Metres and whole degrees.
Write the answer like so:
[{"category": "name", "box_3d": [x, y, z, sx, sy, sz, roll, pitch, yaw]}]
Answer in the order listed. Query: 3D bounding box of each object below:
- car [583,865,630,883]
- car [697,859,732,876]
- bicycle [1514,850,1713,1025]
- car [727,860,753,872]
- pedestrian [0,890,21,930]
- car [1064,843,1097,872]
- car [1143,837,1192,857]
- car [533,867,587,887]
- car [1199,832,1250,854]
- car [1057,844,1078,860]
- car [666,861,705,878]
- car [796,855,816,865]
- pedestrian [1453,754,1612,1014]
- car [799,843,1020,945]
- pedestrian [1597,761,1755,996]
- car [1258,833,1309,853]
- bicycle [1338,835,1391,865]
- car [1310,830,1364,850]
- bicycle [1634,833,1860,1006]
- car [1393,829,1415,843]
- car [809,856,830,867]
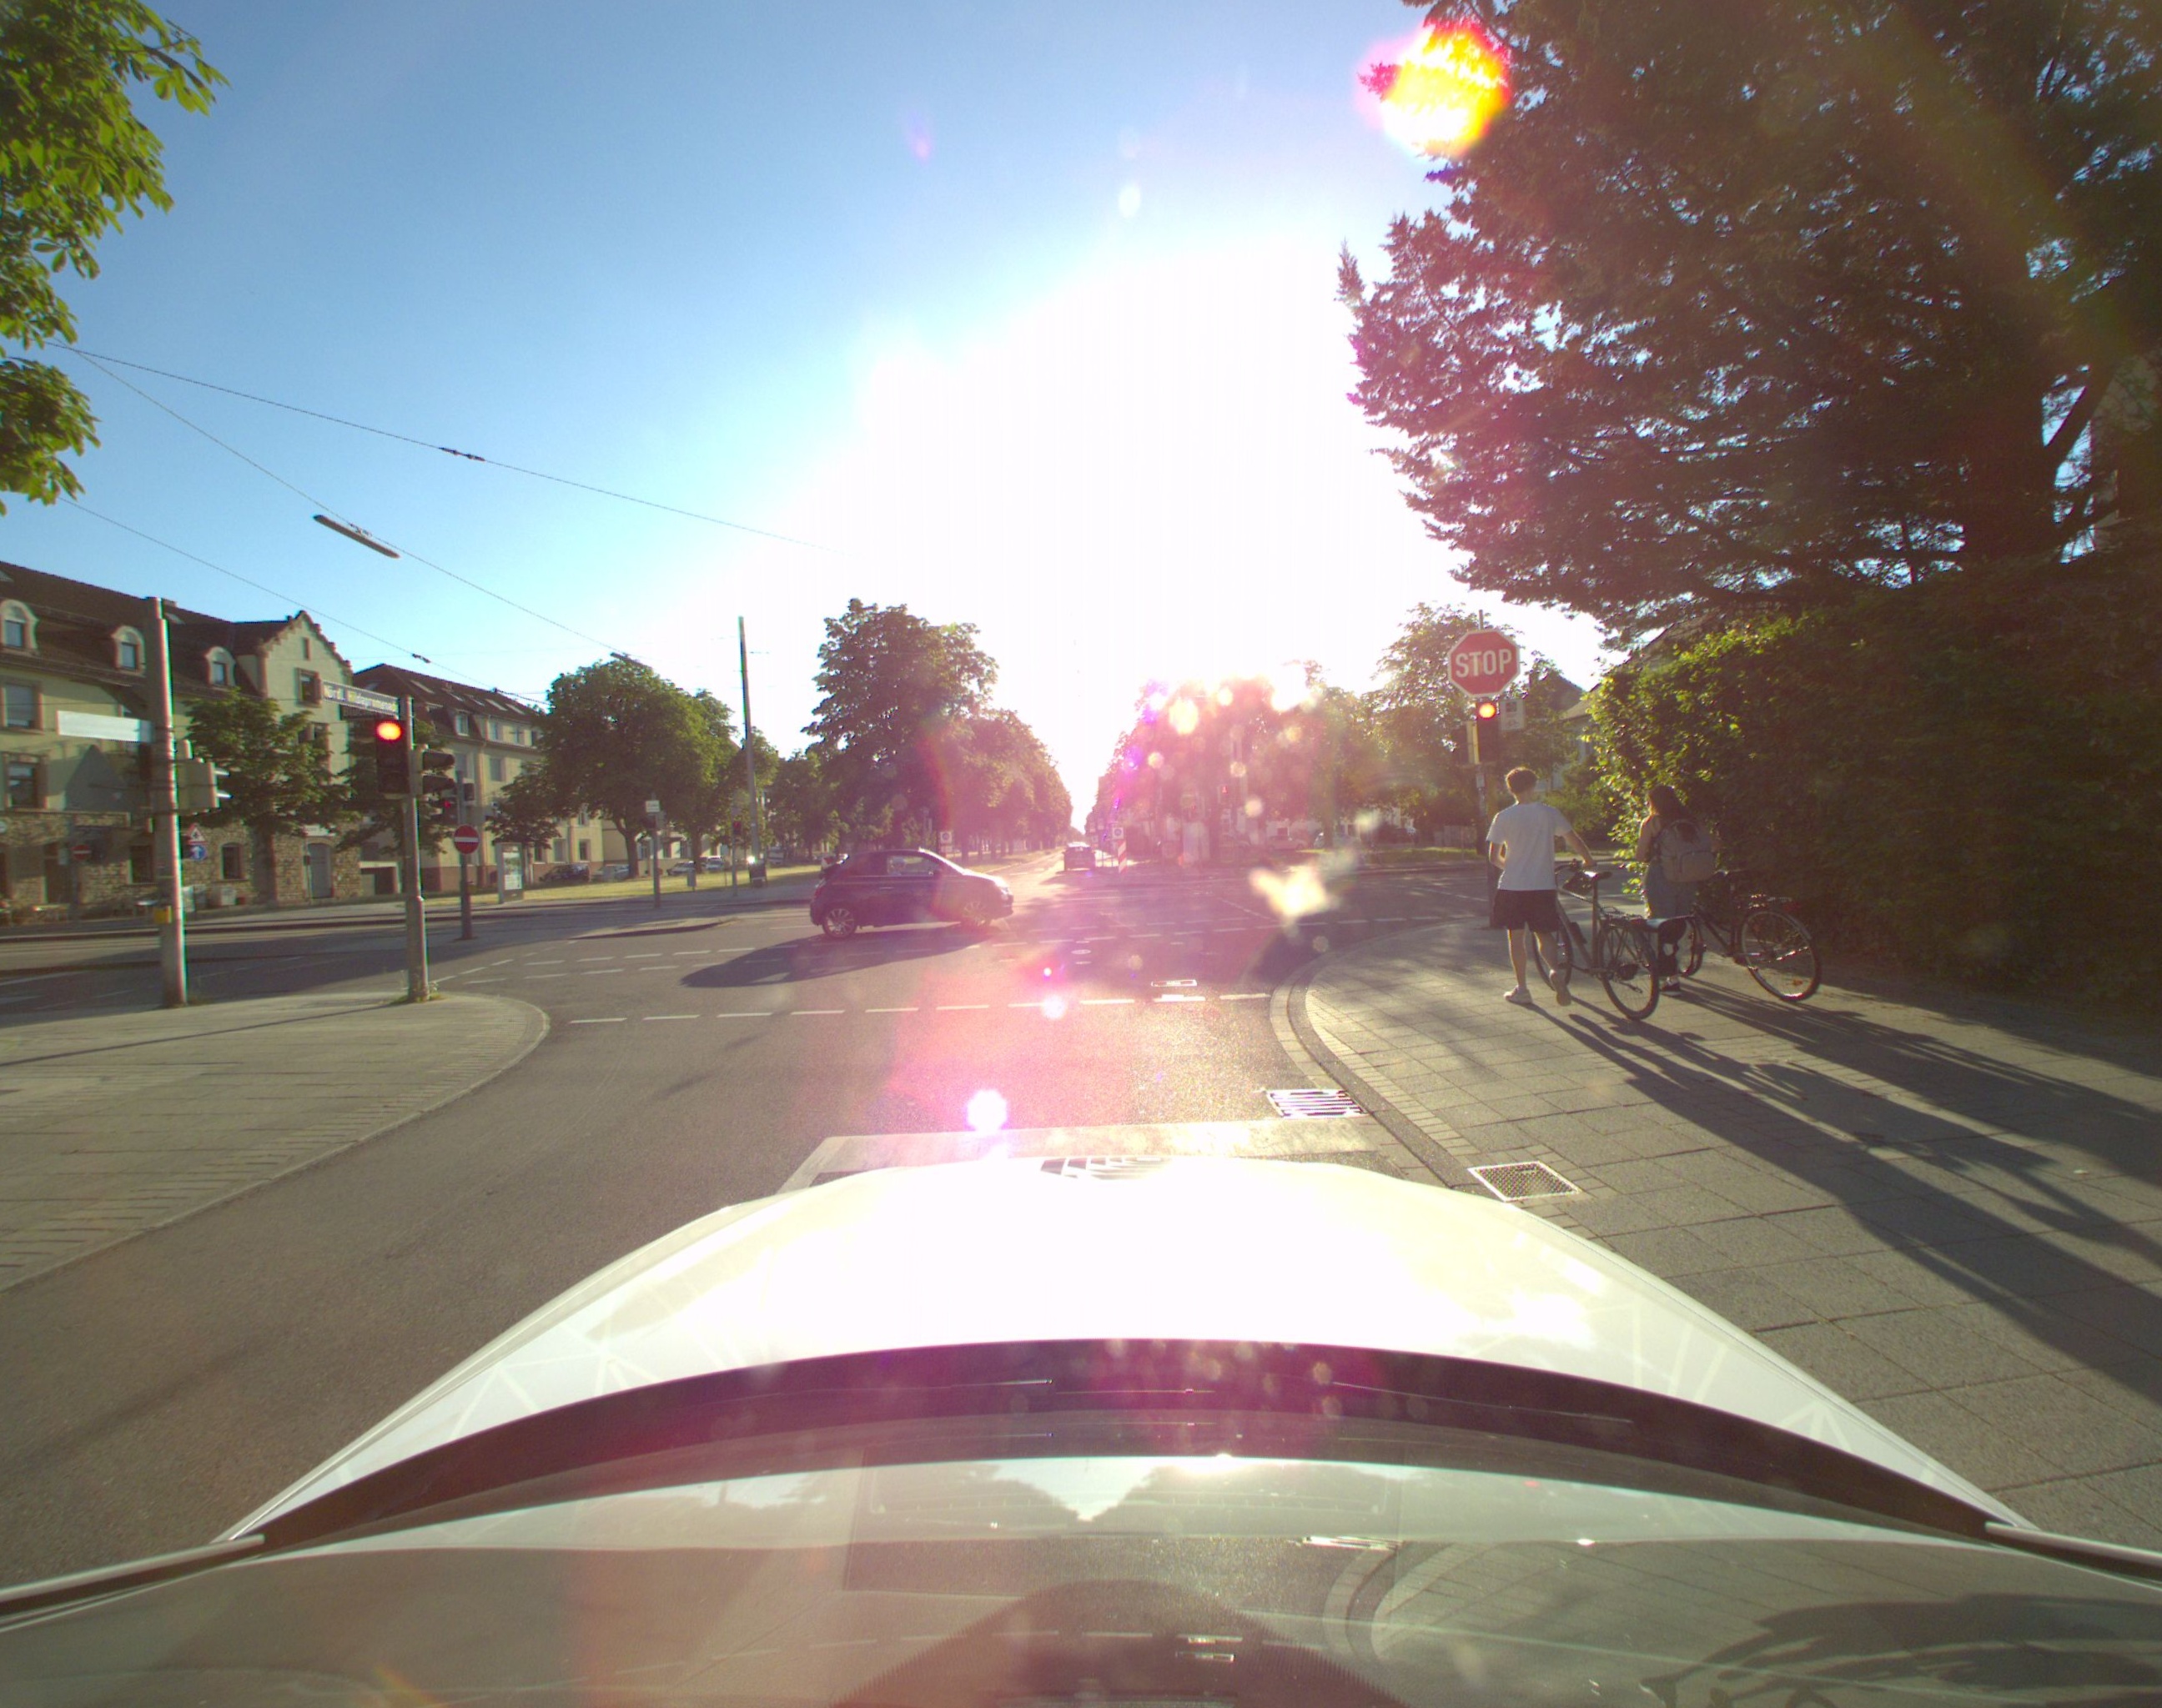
[{"category": "car", "box_3d": [-43.106, 1.795, 74.023, 1.729, 1.427, 3.799, -2, 1, 6]}, {"category": "car", "box_3d": [-37.385, 1.384, 83.129, 1.732, 1.427, 3.793, -2, 2, 1]}, {"category": "bicycle", "box_3d": [4.046, 0.560, 6.357, 0.484, 1.097, 1.794, -5, 1, 7]}, {"category": "car", "box_3d": [-43.620, 1.550, 104.240, 1.732, 1.427, 3.793, -2, 1, 1]}, {"category": "pedestrian", "box_3d": [-45.407, 2.374, 34.204, 0.808, 1.642, 0.727, -2, 0, 8]}, {"category": "car", "box_3d": [0.007, 0.157, 44.750, 1.634, 1.450, 3.310, -2, 1, 2]}, {"category": "car", "box_3d": [6.955, -0.583, 65.717, 3.768, 1.427, 1.744, -2, 2, 0]}, {"category": "car", "box_3d": [-43.168, 1.888, 67.545, 1.729, 1.397, 3.799, -2, 1, 6]}, {"category": "car", "box_3d": [11.616, -0.901, 65.938, 3.768, 1.525, 1.744, -2, 2, 0]}, {"category": "car", "box_3d": [-1.291, -0.206, 78.794, 1.839, 1.393, 3.829, -2, 1, 1]}, {"category": "car", "box_3d": [-37.364, 1.447, 76.944, 1.732, 1.427, 3.793, -2, 1, 1]}, {"category": "car", "box_3d": [-43.202, 0.951, 128.185, 1.732, 1.427, 3.793, -2, 1, 1]}, {"category": "pedestrian", "box_3d": [3.522, 0.214, 6.436, 0.667, 1.865, 0.883, -6, 1, 6]}, {"category": "car", "box_3d": [-2.989, 0.643, 14.612, 3.596, 1.497, 1.606, -3, 1, -10]}, {"category": "pedestrian", "box_3d": [4.650, 0.178, 6.412, 0.665, 1.708, 0.624, -6, 1, 7]}, {"category": "car", "box_3d": [16.336, -0.893, 65.774, 3.656, 1.427, 1.529, -2, 0, -4]}, {"category": "bicycle", "box_3d": [11.629, -0.155, 33.448, 1.946, 1.132, 0.620, -2, 0, 2]}, {"category": "car", "box_3d": [20.848, -1.150, 66.444, 3.838, 1.427, 1.595, -2, 0, -4]}, {"category": "bicycle", "box_3d": [5.064, 0.427, 6.328, 0.484, 1.142, 1.600, -5, 1, 5]}, {"category": "car", "box_3d": [33.232, -1.855, 83.760, 1.648, 1.417, 3.565, -2, 1, 29]}, {"category": "car", "box_3d": [-37.810, 1.076, 117.859, 1.732, 1.427, 3.793, -2, 1, 1]}]
